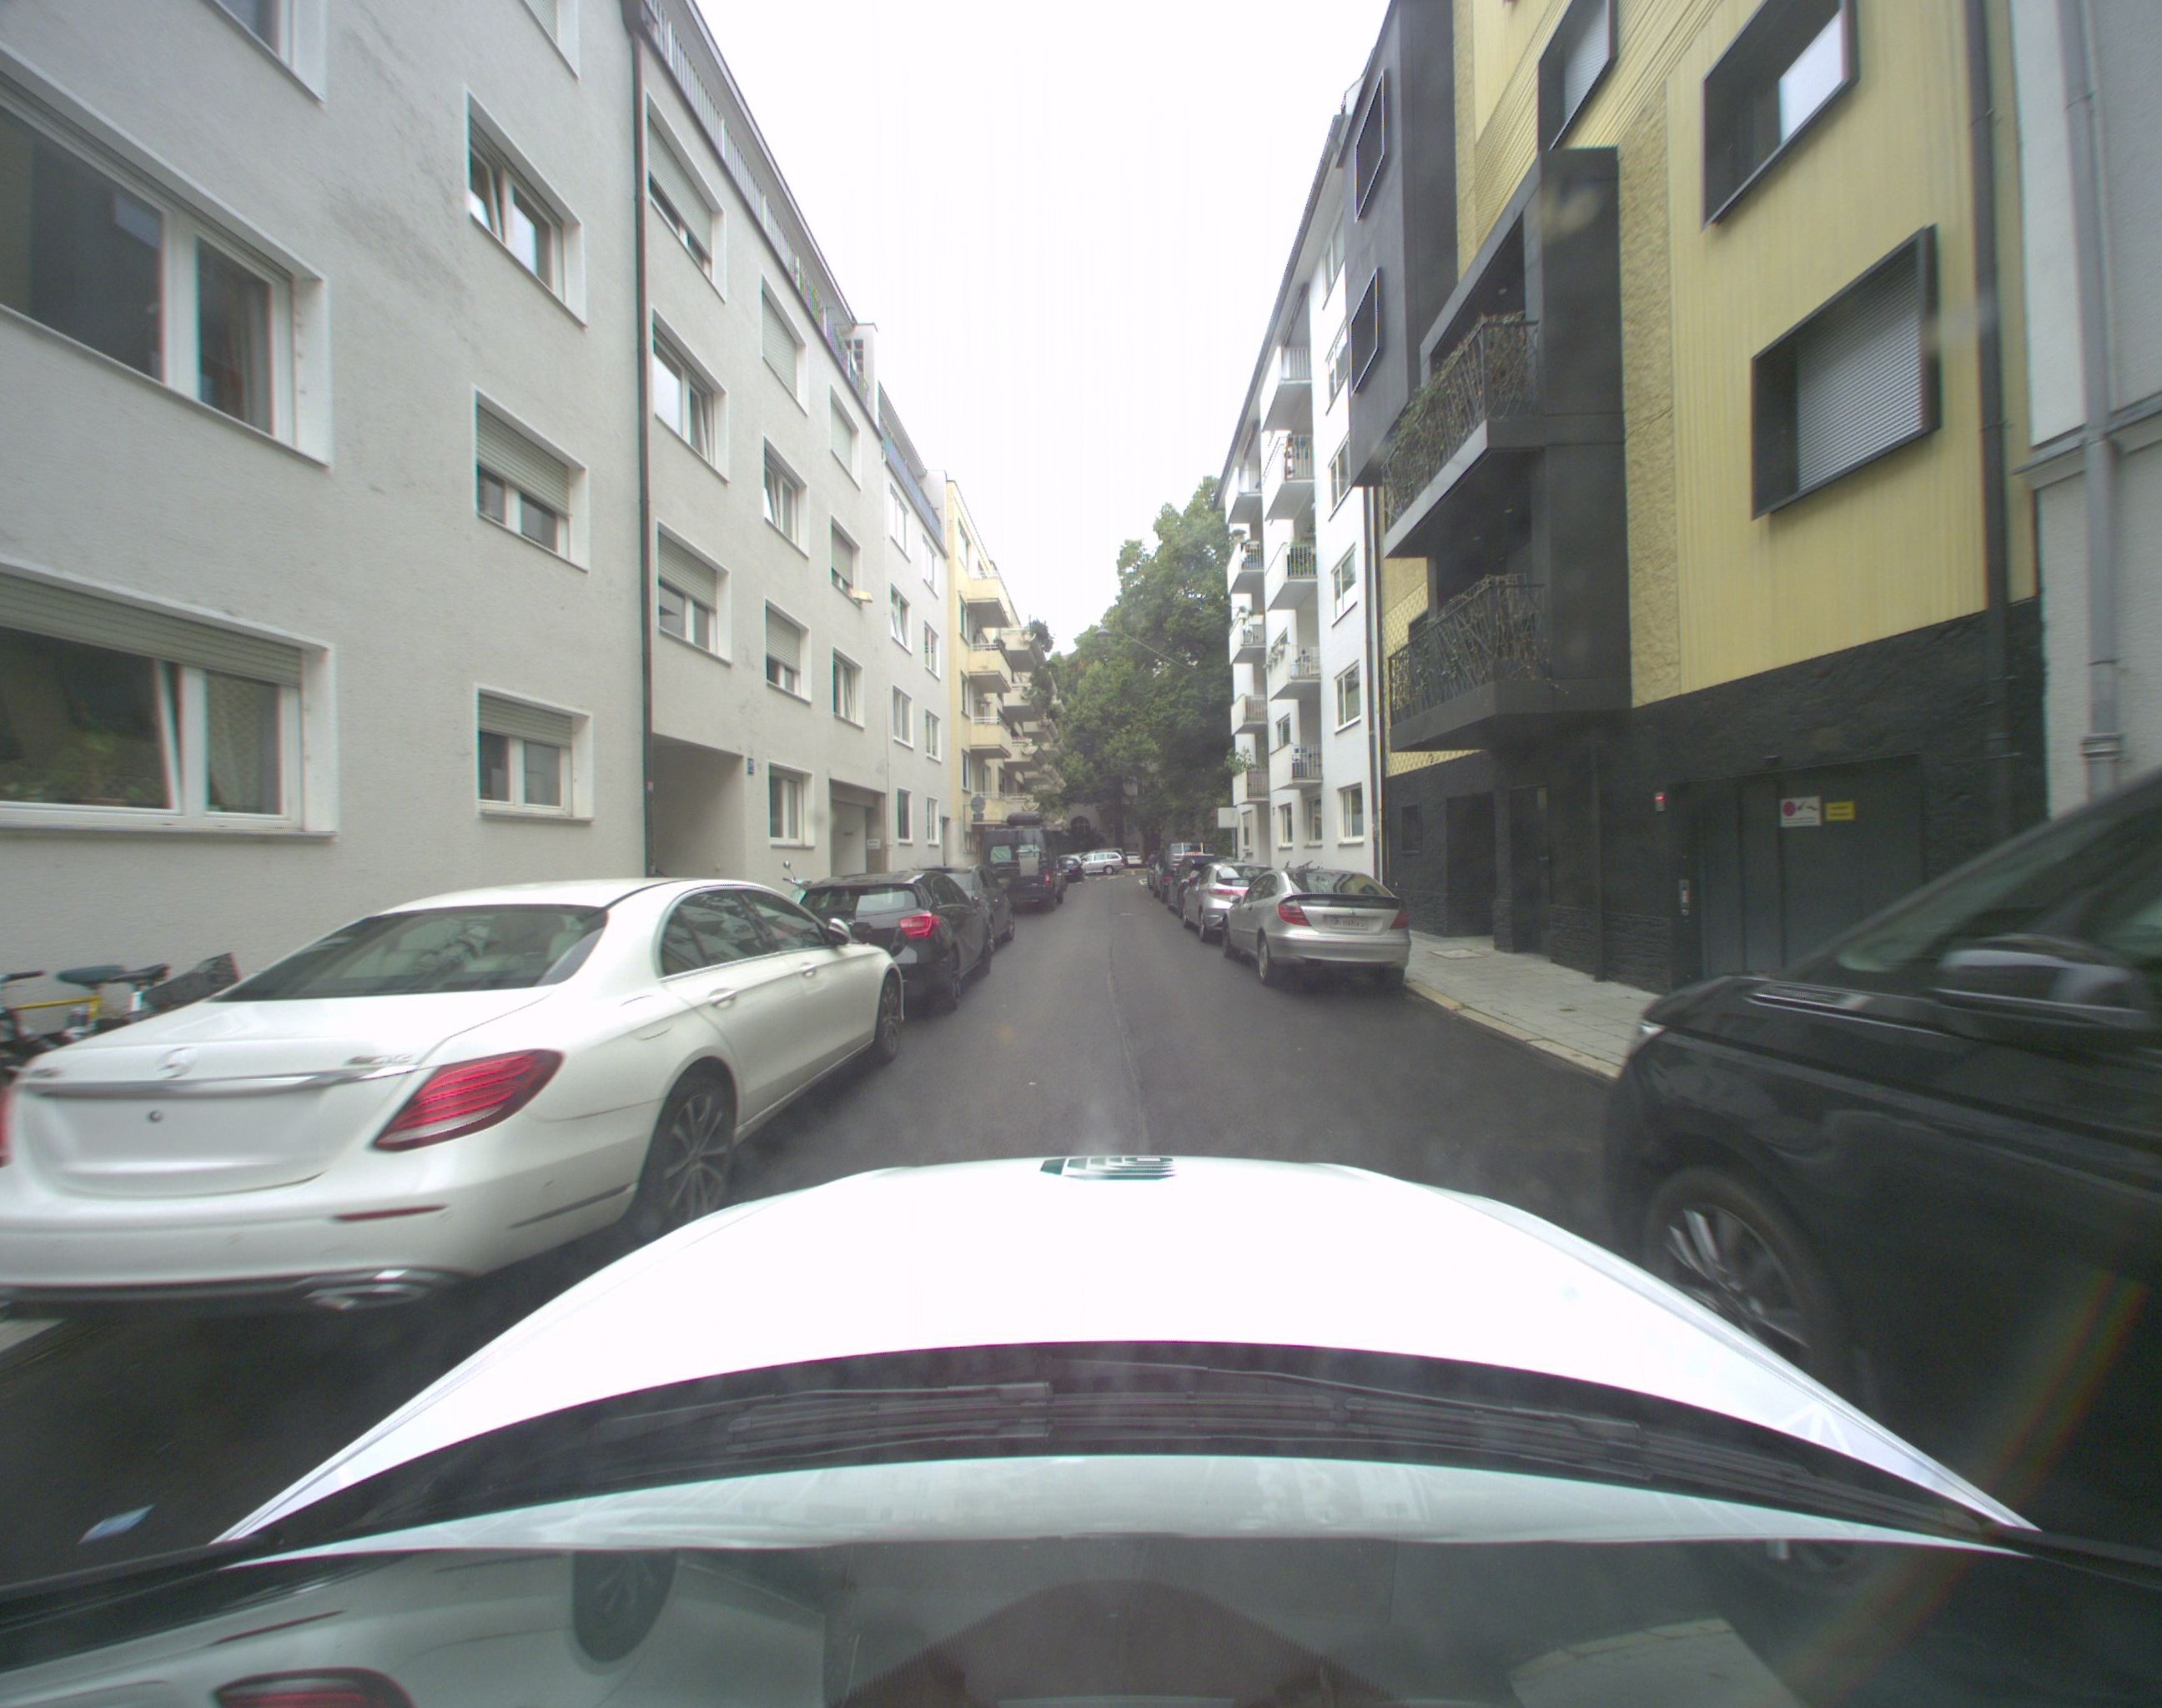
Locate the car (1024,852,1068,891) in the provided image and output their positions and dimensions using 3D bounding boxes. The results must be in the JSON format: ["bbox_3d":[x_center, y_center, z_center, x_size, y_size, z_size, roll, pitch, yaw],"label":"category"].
[{"bbox_3d":[-1.420,0.706,34.311,1.614,1.496,3.709,-2,0,1],"label":"car"}]

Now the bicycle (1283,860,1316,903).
[{"bbox_3d":[6.134,0.744,22.926,0.568,1.151,1.431,-1,0,1],"label":"bicycle"}]

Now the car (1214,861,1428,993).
[{"bbox_3d":[3.043,0.837,11.266,1.729,1.429,4.202,-1,0,0],"label":"car"}]

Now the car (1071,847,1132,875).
[{"bbox_3d":[1.450,0.467,58.054,4.206,1.684,1.902,-4,0,0],"label":"car"}]

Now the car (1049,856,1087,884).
[{"bbox_3d":[-0.632,0.822,43.718,1.790,1.278,4.618,-3,0,2],"label":"car"}]

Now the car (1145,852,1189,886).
[{"bbox_3d":[3.874,0.657,37.210,1.736,1.441,4.003,-2,0,3],"label":"car"}]

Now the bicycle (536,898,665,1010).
[{"bbox_3d":[-5.194,1.043,8.913,0.397,1.016,1.575,-3,0,2],"label":"bicycle"}]

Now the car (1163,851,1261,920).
[{"bbox_3d":[3.308,0.751,21.419,1.899,1.554,4.626,-1,0,1],"label":"car"}]

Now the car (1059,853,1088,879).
[{"bbox_3d":[-0.414,0.677,48.553,1.555,1.421,3.834,-3,0,1],"label":"car"}]

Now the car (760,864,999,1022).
[{"bbox_3d":[-2.117,0.858,9.800,1.795,1.417,4.225,-1,0,0],"label":"car"}]

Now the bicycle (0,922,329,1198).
[{"bbox_3d":[-5.189,1.023,4.580,0.403,1.139,1.682,-1,0,-3],"label":"bicycle"}]

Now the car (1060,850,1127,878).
[{"bbox_3d":[0.837,0.644,52.812,4.213,1.455,1.721,-4,0,1],"label":"car"}]

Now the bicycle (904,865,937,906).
[{"bbox_3d":[-4.586,0.884,23.422,0.461,1.098,1.872,-1,0,3],"label":"bicycle"}]

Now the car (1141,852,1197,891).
[{"bbox_3d":[3.451,0.655,32.694,1.827,1.419,4.059,-2,0,1],"label":"car"}]

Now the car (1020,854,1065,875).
[{"bbox_3d":[-3.086,0.826,64.672,3.296,1.631,1.501,-1,0,-18],"label":"car"}]

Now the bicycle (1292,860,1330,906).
[{"bbox_3d":[6.007,0.733,21.353,0.568,1.151,1.563,-1,0,1],"label":"bicycle"}]

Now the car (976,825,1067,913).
[{"bbox_3d":[-1.653,0.424,24.659,2.010,2.279,5.393,-3,0,2],"label":"car"}]

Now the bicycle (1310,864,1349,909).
[{"bbox_3d":[5.901,0.750,19.395,0.475,1.002,1.552,-1,0,1],"label":"bicycle"}]

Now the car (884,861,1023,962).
[{"bbox_3d":[-2.115,0.907,14.525,1.605,1.446,3.746,-4,-1,3],"label":"car"}]

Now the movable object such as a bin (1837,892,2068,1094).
[{"bbox_3d":[5.354,0.823,5.040,0.793,1.139,0.574,-1,-1,0],"label":"movable object such as a bin"}]

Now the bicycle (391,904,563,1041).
[{"bbox_3d":[-5.369,1.009,7.339,0.377,1.016,1.442,-3,0,3],"label":"bicycle"}]

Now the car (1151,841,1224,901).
[{"bbox_3d":[3.440,0.530,27.066,1.868,1.791,4.783,-1,0,1],"label":"car"}]

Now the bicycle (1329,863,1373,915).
[{"bbox_3d":[5.877,0.739,17.814,0.475,1.048,1.522,-1,0,1],"label":"bicycle"}]

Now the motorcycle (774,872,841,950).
[{"bbox_3d":[-4.667,0.941,14.005,0.598,1.203,1.856,-1,0,-3],"label":"motorcycle"}]

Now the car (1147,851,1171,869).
[{"bbox_3d":[6.610,0.456,68.906,1.781,1.431,4.010,-1,0,9],"label":"car"}]

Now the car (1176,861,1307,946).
[{"bbox_3d":[3.055,0.877,16.335,1.754,1.431,4.260,2,0,0],"label":"car"}]

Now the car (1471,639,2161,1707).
[{"bbox_3d":[2.619,0.598,0.943,1.975,1.839,5.185,0,0,1],"label":"car"}]

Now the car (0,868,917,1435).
[{"bbox_3d":[-2.437,0.848,4.600,1.905,1.437,4.810,-1,0,1],"label":"car"}]

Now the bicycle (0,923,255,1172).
[{"bbox_3d":[-5.600,1.026,4.534,0.340,1.139,1.682,-1,0,-3],"label":"bicycle"}]

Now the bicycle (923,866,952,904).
[{"bbox_3d":[-4.452,0.932,25.318,0.461,1.098,1.872,-1,0,3],"label":"bicycle"}]

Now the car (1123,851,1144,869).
[{"bbox_3d":[4.506,0.510,69.975,1.711,1.431,4.005,-1,0,4],"label":"car"}]
